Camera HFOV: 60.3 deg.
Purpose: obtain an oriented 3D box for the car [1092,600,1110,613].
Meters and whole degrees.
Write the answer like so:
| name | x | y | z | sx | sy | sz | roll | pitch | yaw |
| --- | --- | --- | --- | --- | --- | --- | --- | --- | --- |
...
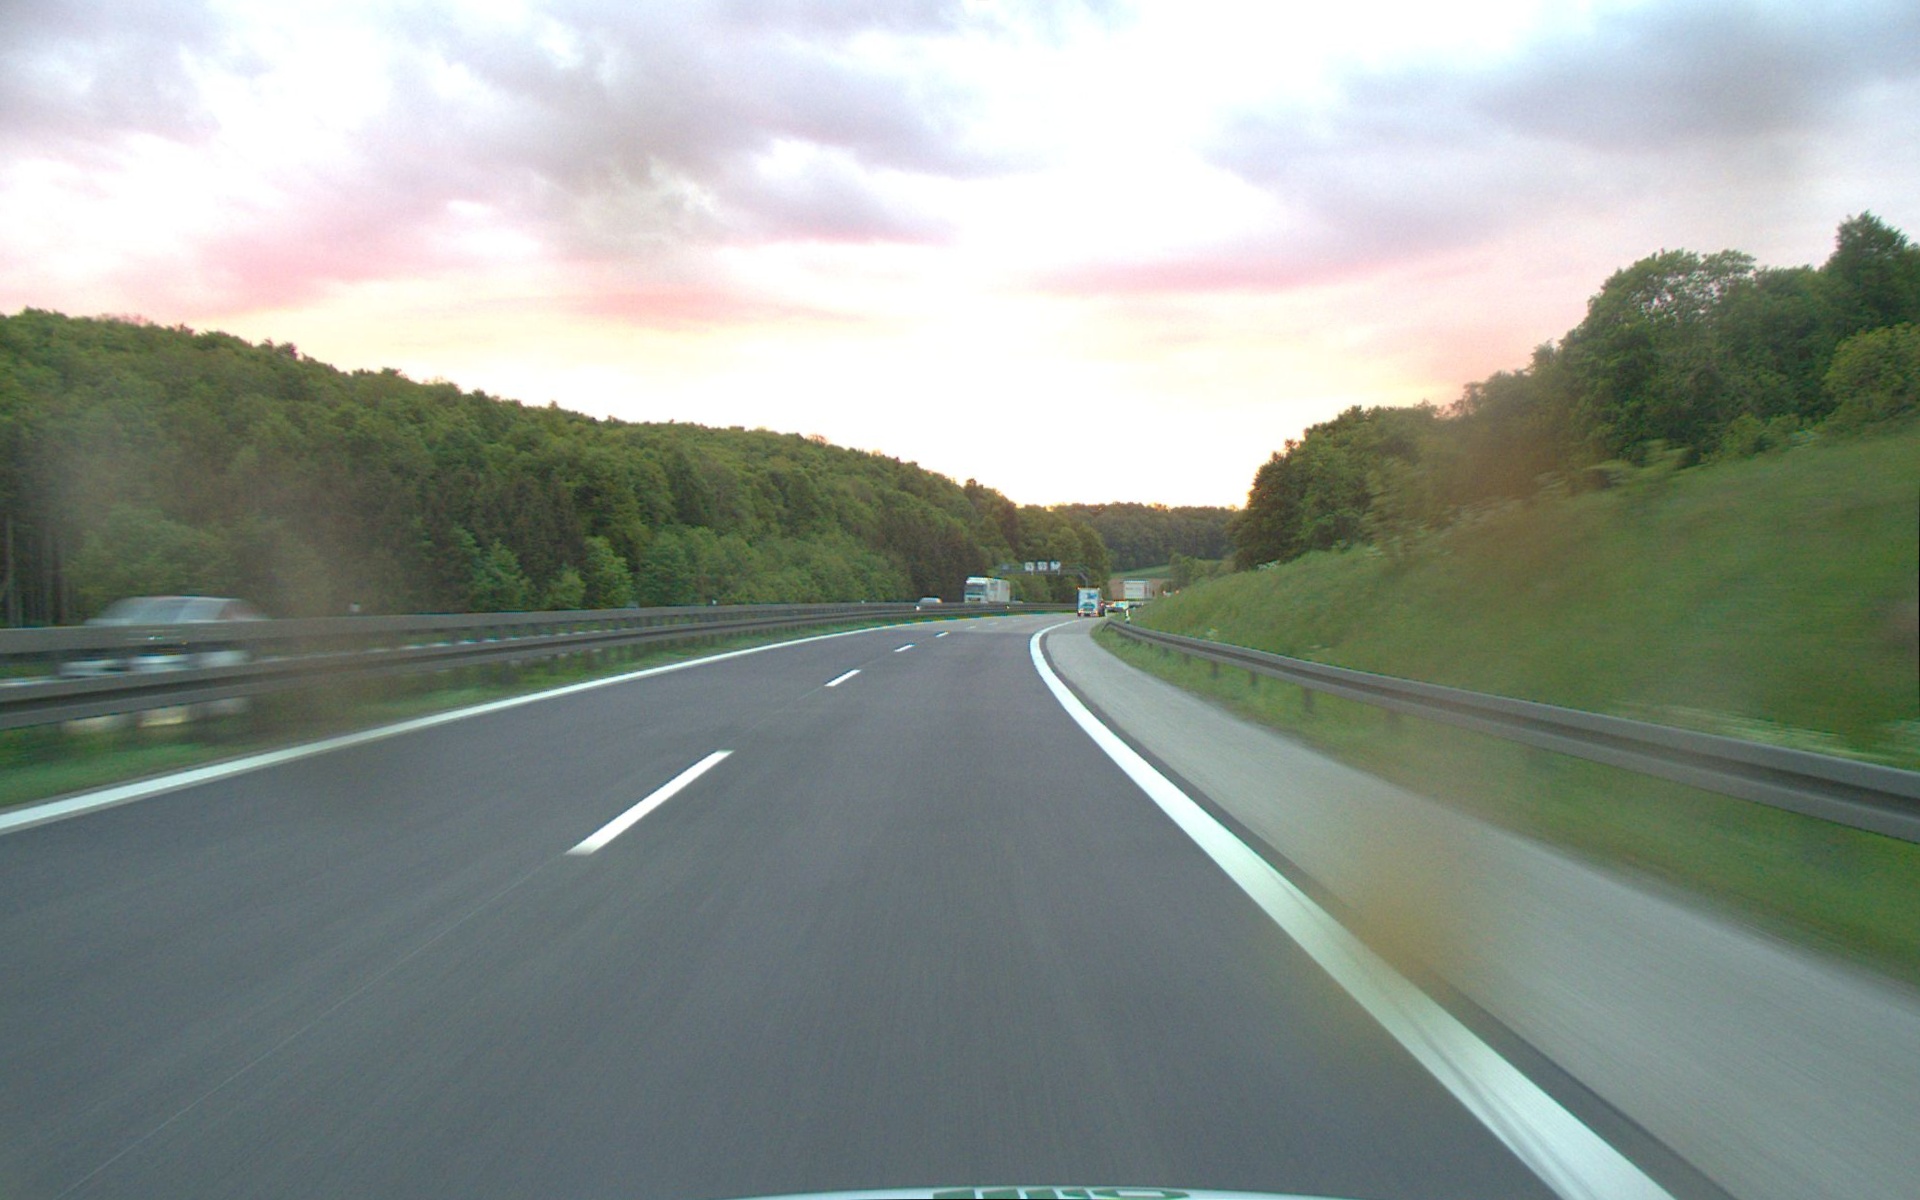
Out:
| name | x | y | z | sx | sy | sz | roll | pitch | yaw |
| --- | --- | --- | --- | --- | --- | --- | --- | --- | --- |
| car | 18.570 | 0.846 | 217.652 | 1.951 | 1.544 | 4.004 | -1 | 0 | 9 |

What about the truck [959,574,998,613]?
| name | x | y | z | sx | sy | sz | roll | pitch | yaw |
| --- | --- | --- | --- | --- | --- | --- | --- | --- | --- |
| truck | 2.232 | -0.737 | 193.466 | 2.803 | 4.356 | 10.074 | 0 | 0 | 11 |

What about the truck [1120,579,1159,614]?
| name | x | y | z | sx | sy | sz | roll | pitch | yaw |
| --- | --- | --- | --- | --- | --- | --- | --- | --- | --- |
| truck | 23.233 | -0.507 | 213.680 | 3.873 | 4.362 | 14.336 | -1 | 0 | 10 |

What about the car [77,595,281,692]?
| name | x | y | z | sx | sy | sz | roll | pitch | yaw |
| --- | --- | --- | --- | --- | --- | --- | --- | --- | --- |
| car | -14.583 | 0.757 | 31.179 | 1.717 | 1.668 | 4.478 | -1 | 0 | 0 |

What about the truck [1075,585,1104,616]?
| name | x | y | z | sx | sy | sz | roll | pitch | yaw |
| --- | --- | --- | --- | --- | --- | --- | --- | --- | --- |
| truck | 12.259 | 0.050 | 156.616 | 2.227 | 2.711 | 5.241 | -1 | 2 | 9 |
